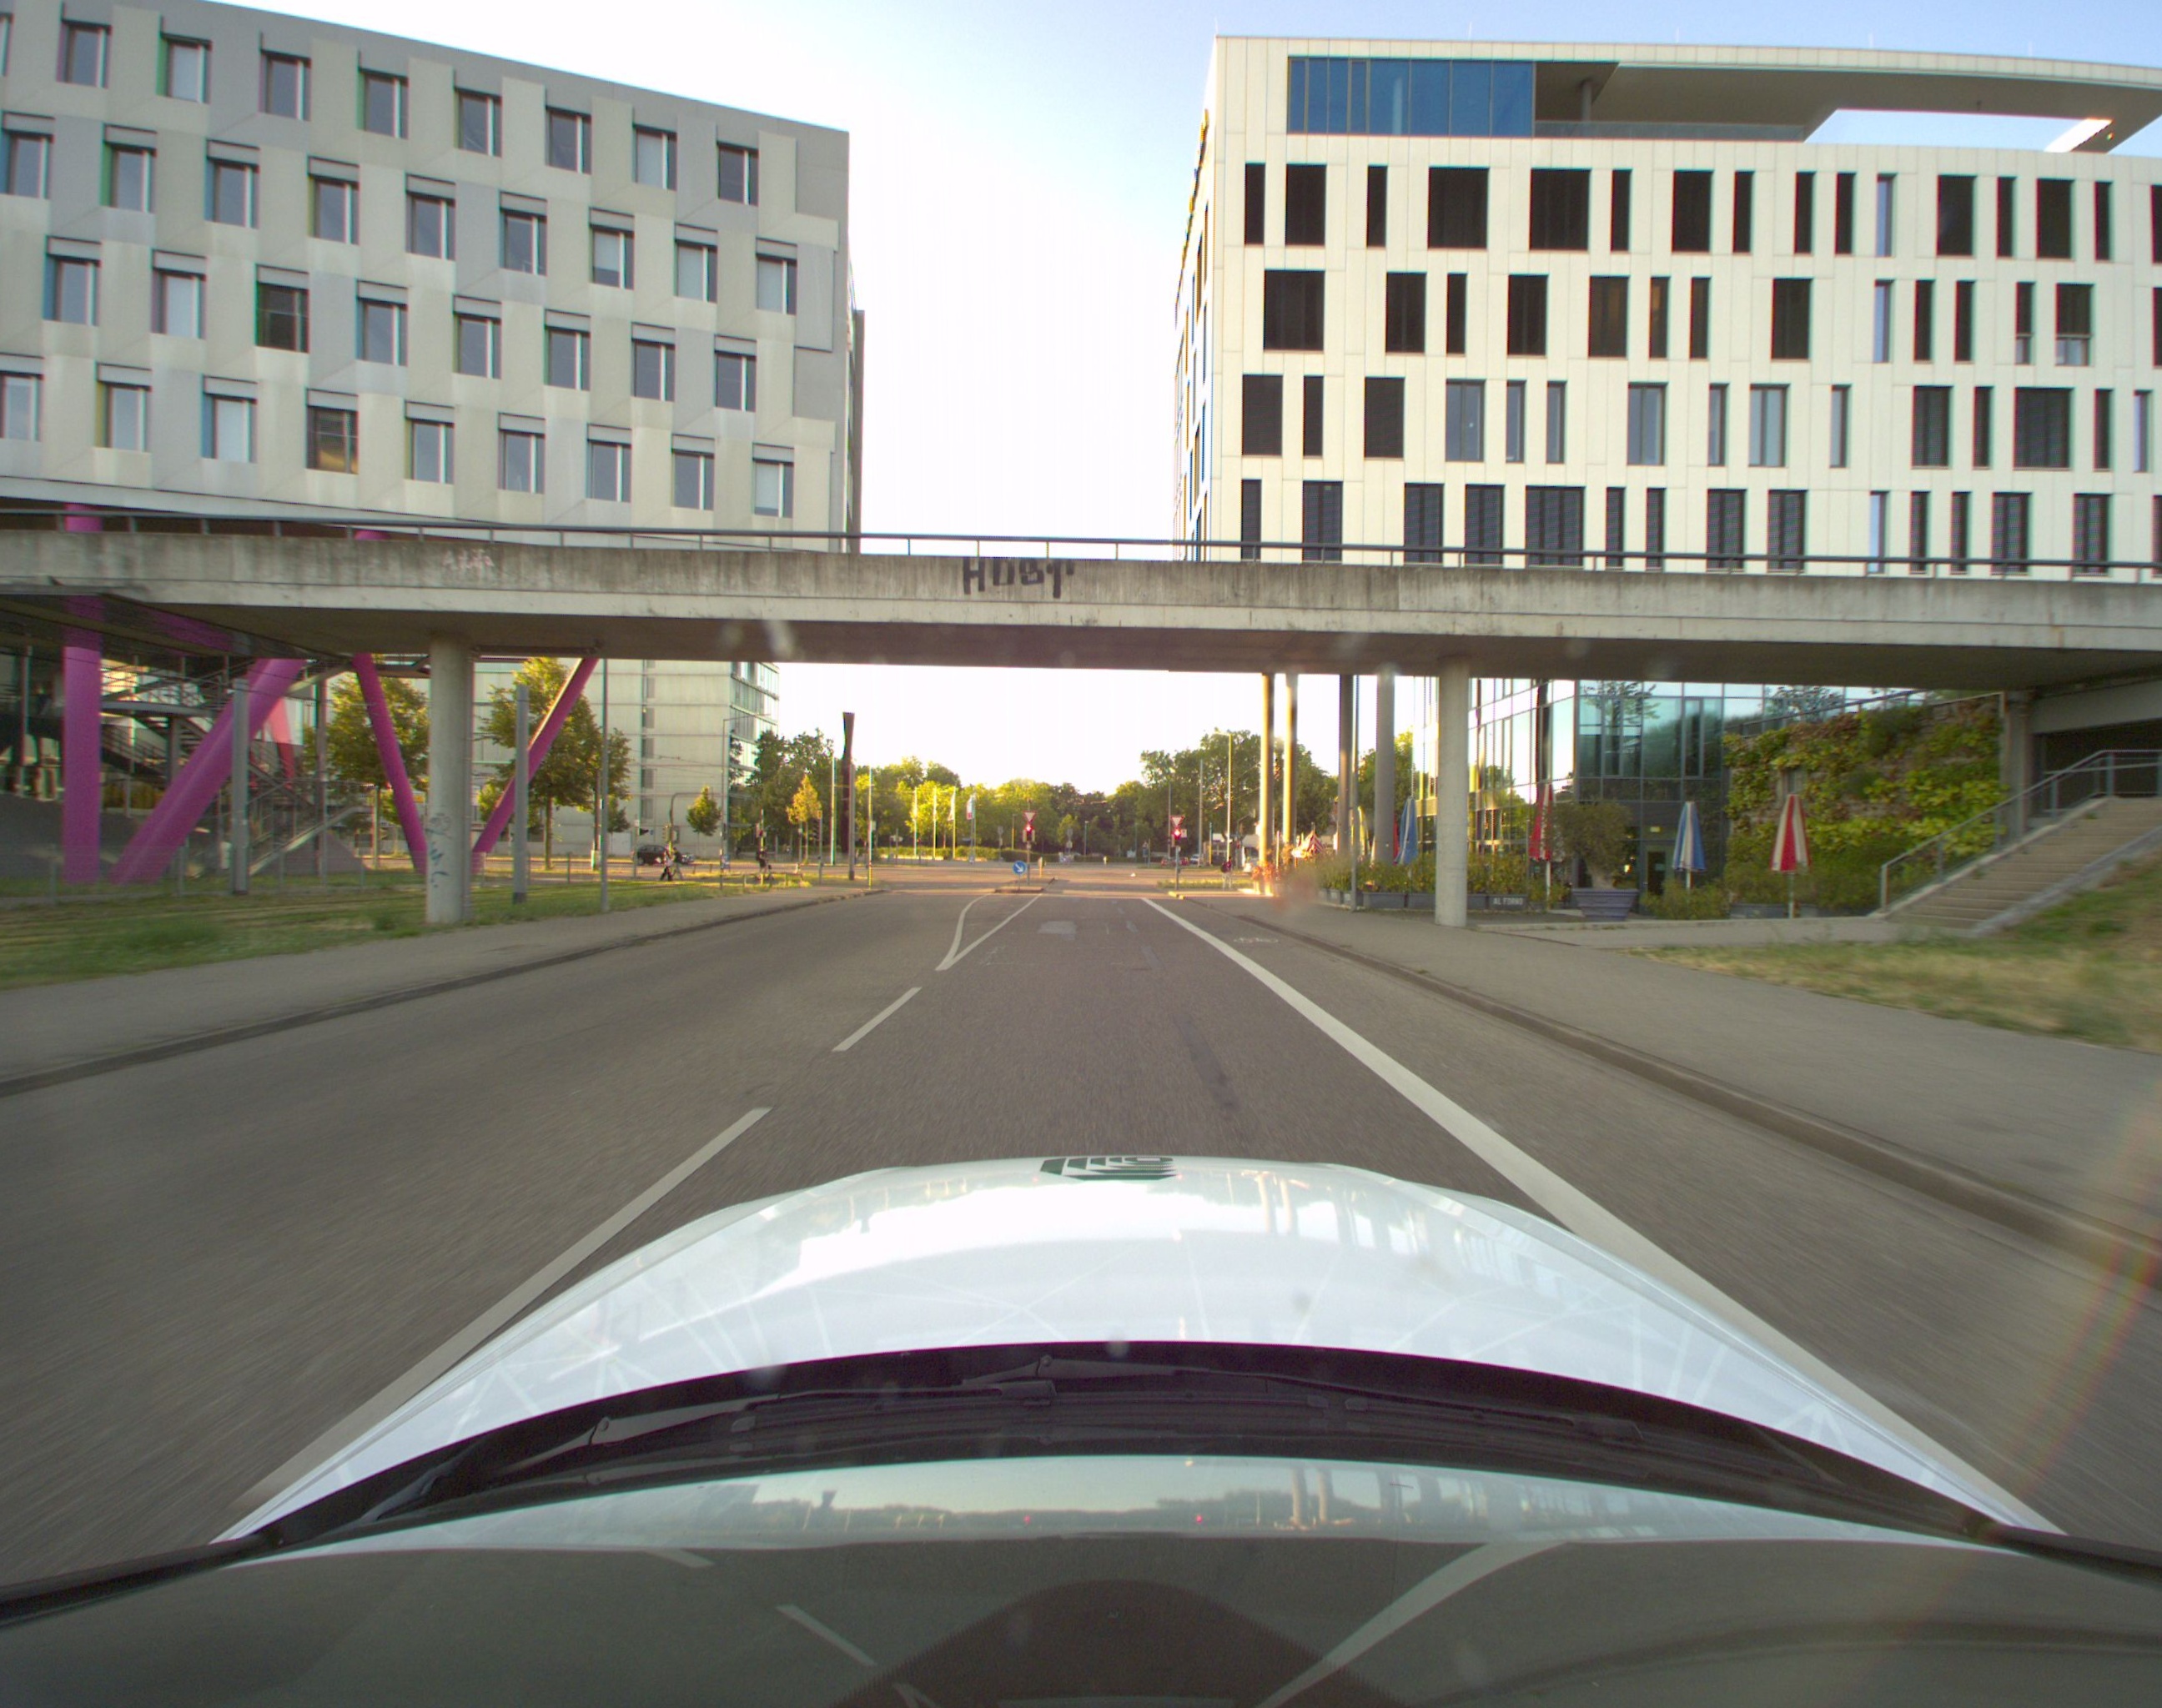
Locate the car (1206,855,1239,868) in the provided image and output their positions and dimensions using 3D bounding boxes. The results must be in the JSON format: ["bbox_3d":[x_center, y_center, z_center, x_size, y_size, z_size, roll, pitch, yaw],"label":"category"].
[{"bbox_3d":[20.374,1.056,117.382,4.444,1.816,1.949,1,1,6],"label":"car"}]

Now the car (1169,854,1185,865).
[{"bbox_3d":[15.079,0.897,127.853,1.483,1.606,3.424,1,1,27],"label":"car"}]

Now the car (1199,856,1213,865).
[{"bbox_3d":[22.052,1.110,143.116,1.483,1.477,3.103,1,1,27],"label":"car"}]

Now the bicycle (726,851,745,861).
[{"bbox_3d":[-38.712,0.259,91.167,1.972,1.128,0.556,0,1,-25],"label":"bicycle"}]

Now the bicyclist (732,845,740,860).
[{"bbox_3d":[-38.614,-0.146,91.198,0.760,1.723,0.548,0,1,-24],"label":"bicyclist"}]

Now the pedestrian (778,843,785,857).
[{"bbox_3d":[-45.171,-0.632,122.980,0.690,2.013,0.702,1,1,21],"label":"pedestrian"}]

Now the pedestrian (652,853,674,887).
[{"bbox_3d":[-20.942,0.792,40.804,0.680,1.624,0.715,1,1,18],"label":"pedestrian"}]

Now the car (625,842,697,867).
[{"bbox_3d":[-32.081,0.003,62.312,4.453,1.816,1.945,1,1,-1],"label":"car"}]

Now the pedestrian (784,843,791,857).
[{"bbox_3d":[-44.703,-0.634,123.998,0.690,2.013,0.702,1,1,21],"label":"pedestrian"}]

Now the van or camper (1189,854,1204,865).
[{"bbox_3d":[22.584,1.032,159.032,1.609,1.982,3.831,1,1,31],"label":"van or camper"}]

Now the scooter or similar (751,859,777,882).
[{"bbox_3d":[-17.058,0.871,43.855,1.210,1.200,0.503,1,1,-3],"label":"scooter or similar"}]

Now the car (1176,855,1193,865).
[{"bbox_3d":[16.724,0.928,131.462,1.483,1.606,3.424,1,1,27],"label":"car"}]

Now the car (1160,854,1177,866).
[{"bbox_3d":[13.375,0.843,124.300,1.483,1.760,3.424,1,1,27],"label":"car"}]

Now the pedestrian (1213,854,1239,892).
[{"bbox_3d":[7.298,0.942,41.041,1.054,1.833,0.892,0,1,-12],"label":"pedestrian"}]

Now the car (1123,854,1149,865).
[{"bbox_3d":[10.246,0.956,151.173,4.659,1.869,2.017,1,1,7],"label":"car"}]

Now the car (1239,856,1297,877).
[{"bbox_3d":[14.031,0.931,61.274,4.012,1.419,1.602,1,1,-2],"label":"car"}]

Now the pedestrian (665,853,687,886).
[{"bbox_3d":[-20.703,0.768,41.589,0.694,1.664,0.715,1,1,18],"label":"pedestrian"}]

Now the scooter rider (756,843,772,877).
[{"bbox_3d":[-17.066,0.318,43.882,0.704,1.782,0.442,1,1,-3],"label":"scooter rider"}]
